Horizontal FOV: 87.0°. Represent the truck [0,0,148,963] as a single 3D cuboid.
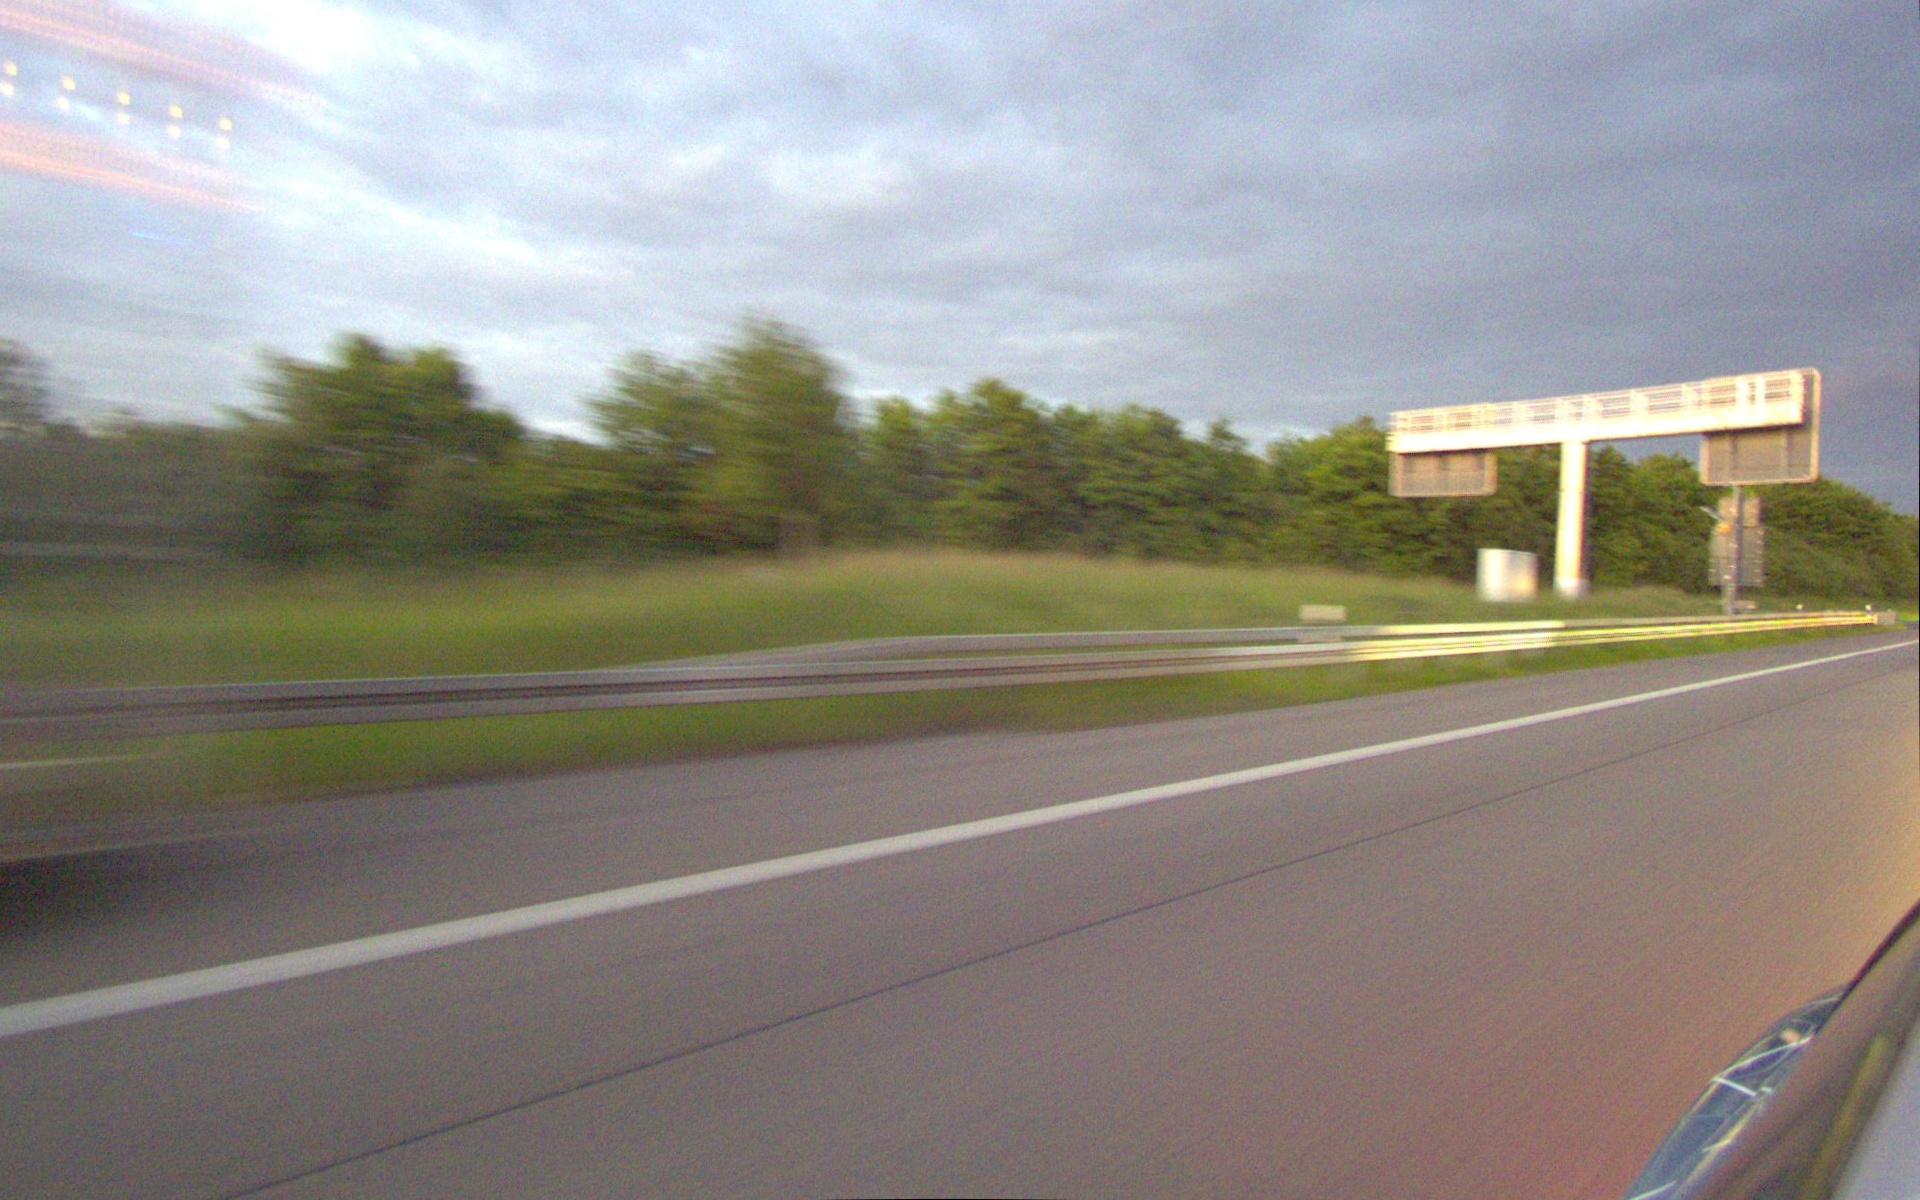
[{"bbox_3d":[-6.583,-0.718,3.094,6.299,4.110,2.793,0,1,-41],"label":"truck"}]
